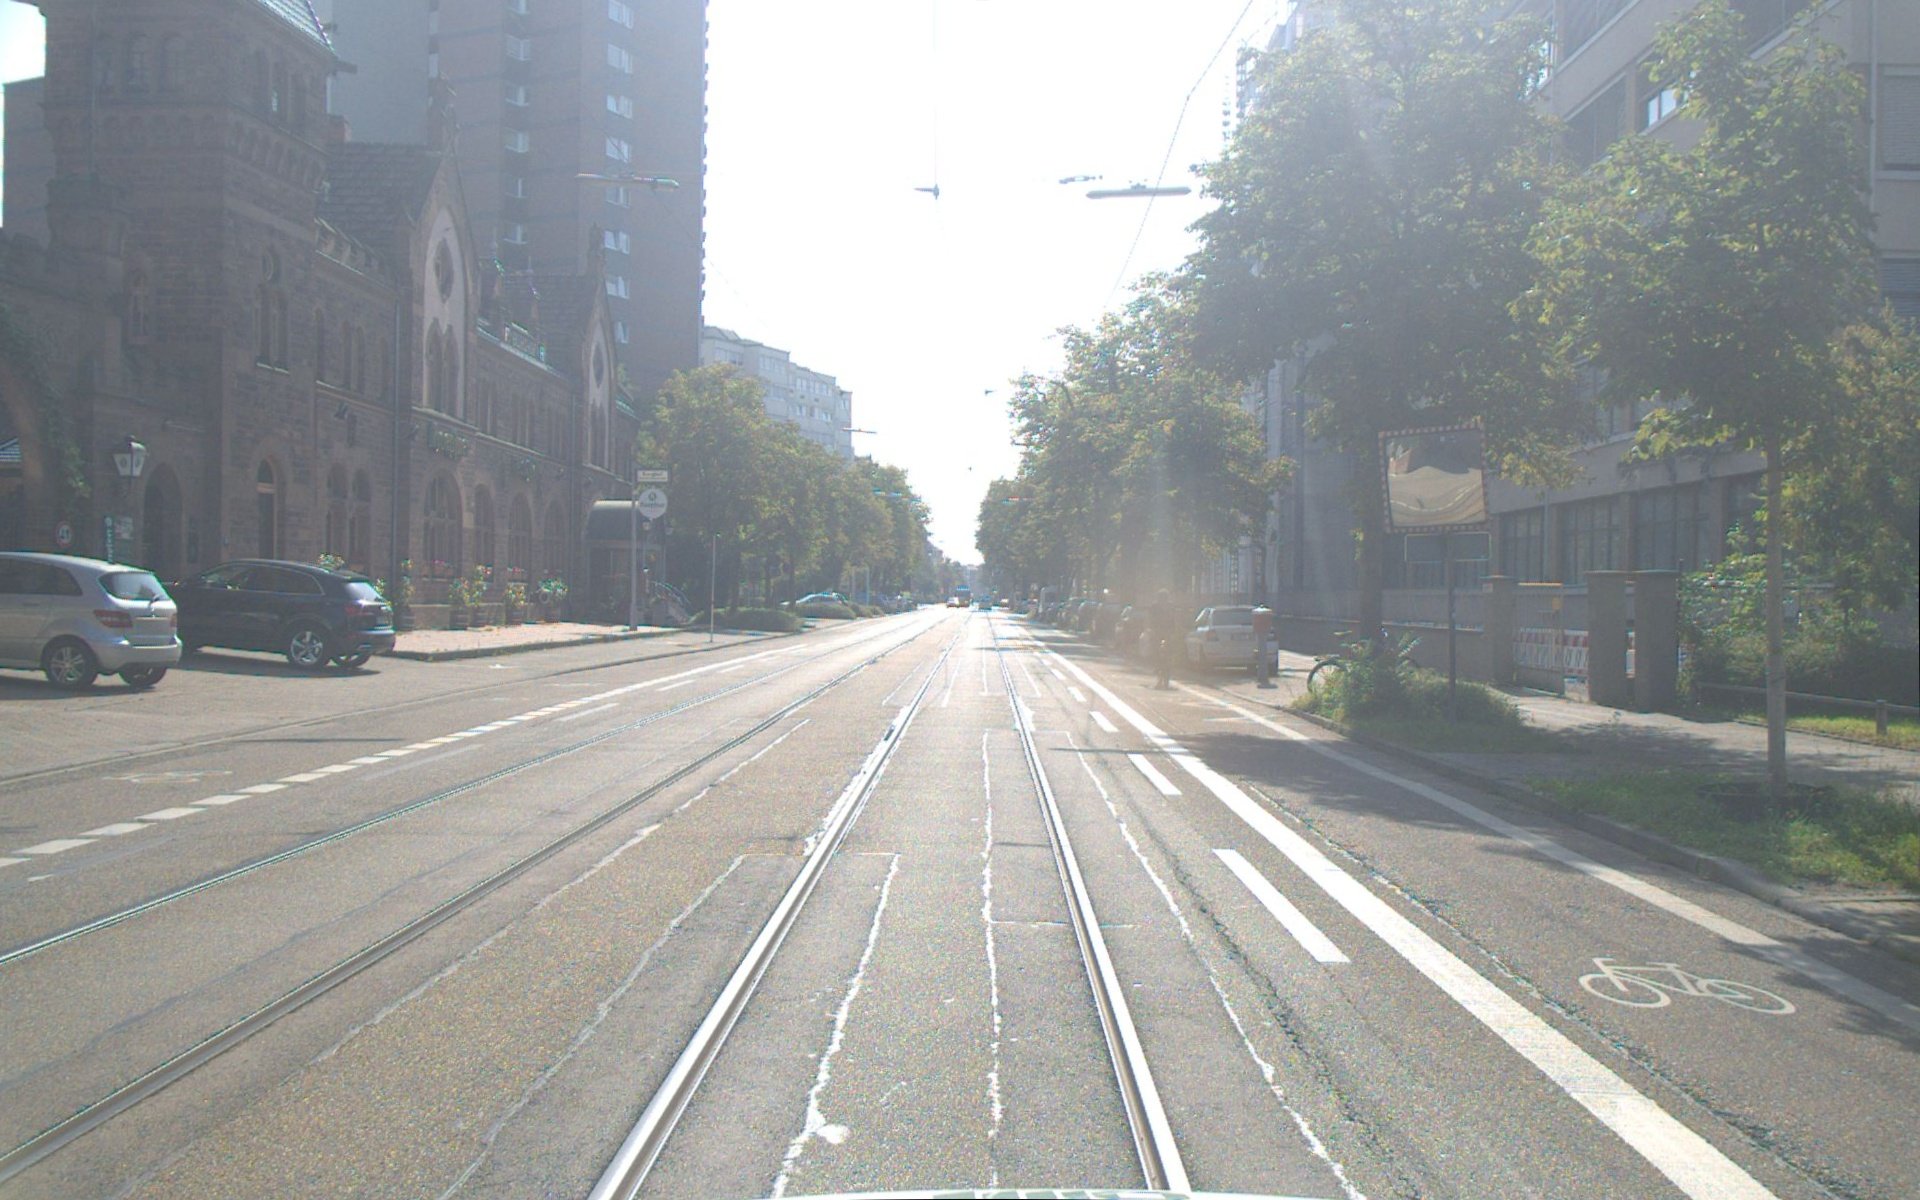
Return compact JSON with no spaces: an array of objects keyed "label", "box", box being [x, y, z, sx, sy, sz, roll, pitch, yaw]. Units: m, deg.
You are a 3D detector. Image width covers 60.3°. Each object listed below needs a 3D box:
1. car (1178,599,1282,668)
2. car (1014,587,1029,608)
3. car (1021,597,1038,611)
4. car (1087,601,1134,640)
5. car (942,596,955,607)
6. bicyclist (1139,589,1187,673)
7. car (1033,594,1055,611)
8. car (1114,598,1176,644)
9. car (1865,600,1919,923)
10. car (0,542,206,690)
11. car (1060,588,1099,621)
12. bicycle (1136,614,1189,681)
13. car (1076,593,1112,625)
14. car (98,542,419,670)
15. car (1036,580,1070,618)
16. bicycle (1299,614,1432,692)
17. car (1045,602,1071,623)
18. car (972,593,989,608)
[{"label":"car","box":[5.924,0.707,36.648,1.607,1.455,3.988,0,0,-1]},{"label":"car","box":[8.021,-0.333,215.503,1.963,2.534,4.477,1,-1,2]},{"label":"car","box":[7.278,0.423,173.682,1.654,1.443,3.635,1,0,2]},{"label":"car","box":[6.067,0.804,66.844,1.612,1.537,3.779,-1,0,1]},{"label":"car","box":[-1.604,0.221,236.369,1.791,1.400,4.512,1,0,0]},{"label":"bicyclist","box":[3.708,0.560,30.330,0.770,1.495,1.116,1,0,2]},{"label":"car","box":[7.081,0.220,140.101,1.717,1.402,4.719,-1,0,1]},{"label":"car","box":[6.140,0.678,55.149,1.612,1.453,4.085,0,0,0]},{"label":"car","box":[5.366,0.773,6.001,1.705,1.512,4.437,-1,1,0]},{"label":"car","box":[-12.079,0.118,21.259,3.819,1.623,1.823,5,0,3]},{"label":"car","box":[6.461,0.229,89.798,1.718,1.721,4.395,2,0,-1]},{"label":"bicycle","box":[3.699,0.844,30.337,0.770,1.164,2.305,1,0,3]},{"label":"car","box":[6.437,0.417,79.724,1.543,1.511,3.739,-1,0,1]},{"label":"car","box":[-11.381,0.094,27.081,4.309,1.674,1.956,5,0,-2]},{"label":"car","box":[6.810,-0.051,121.194,2.040,2.597,5.500,-2,0,-1]},{"label":"bicycle","box":[5.902,0.762,24.143,1.733,1.082,0.796,-1,0,-1]},{"label":"car","box":[6.520,0.808,110.639,1.583,1.398,4.828,0,0,1]},{"label":"car","box":[2.595,0.093,205.975,1.952,1.870,4.001,1,0,2]}]
